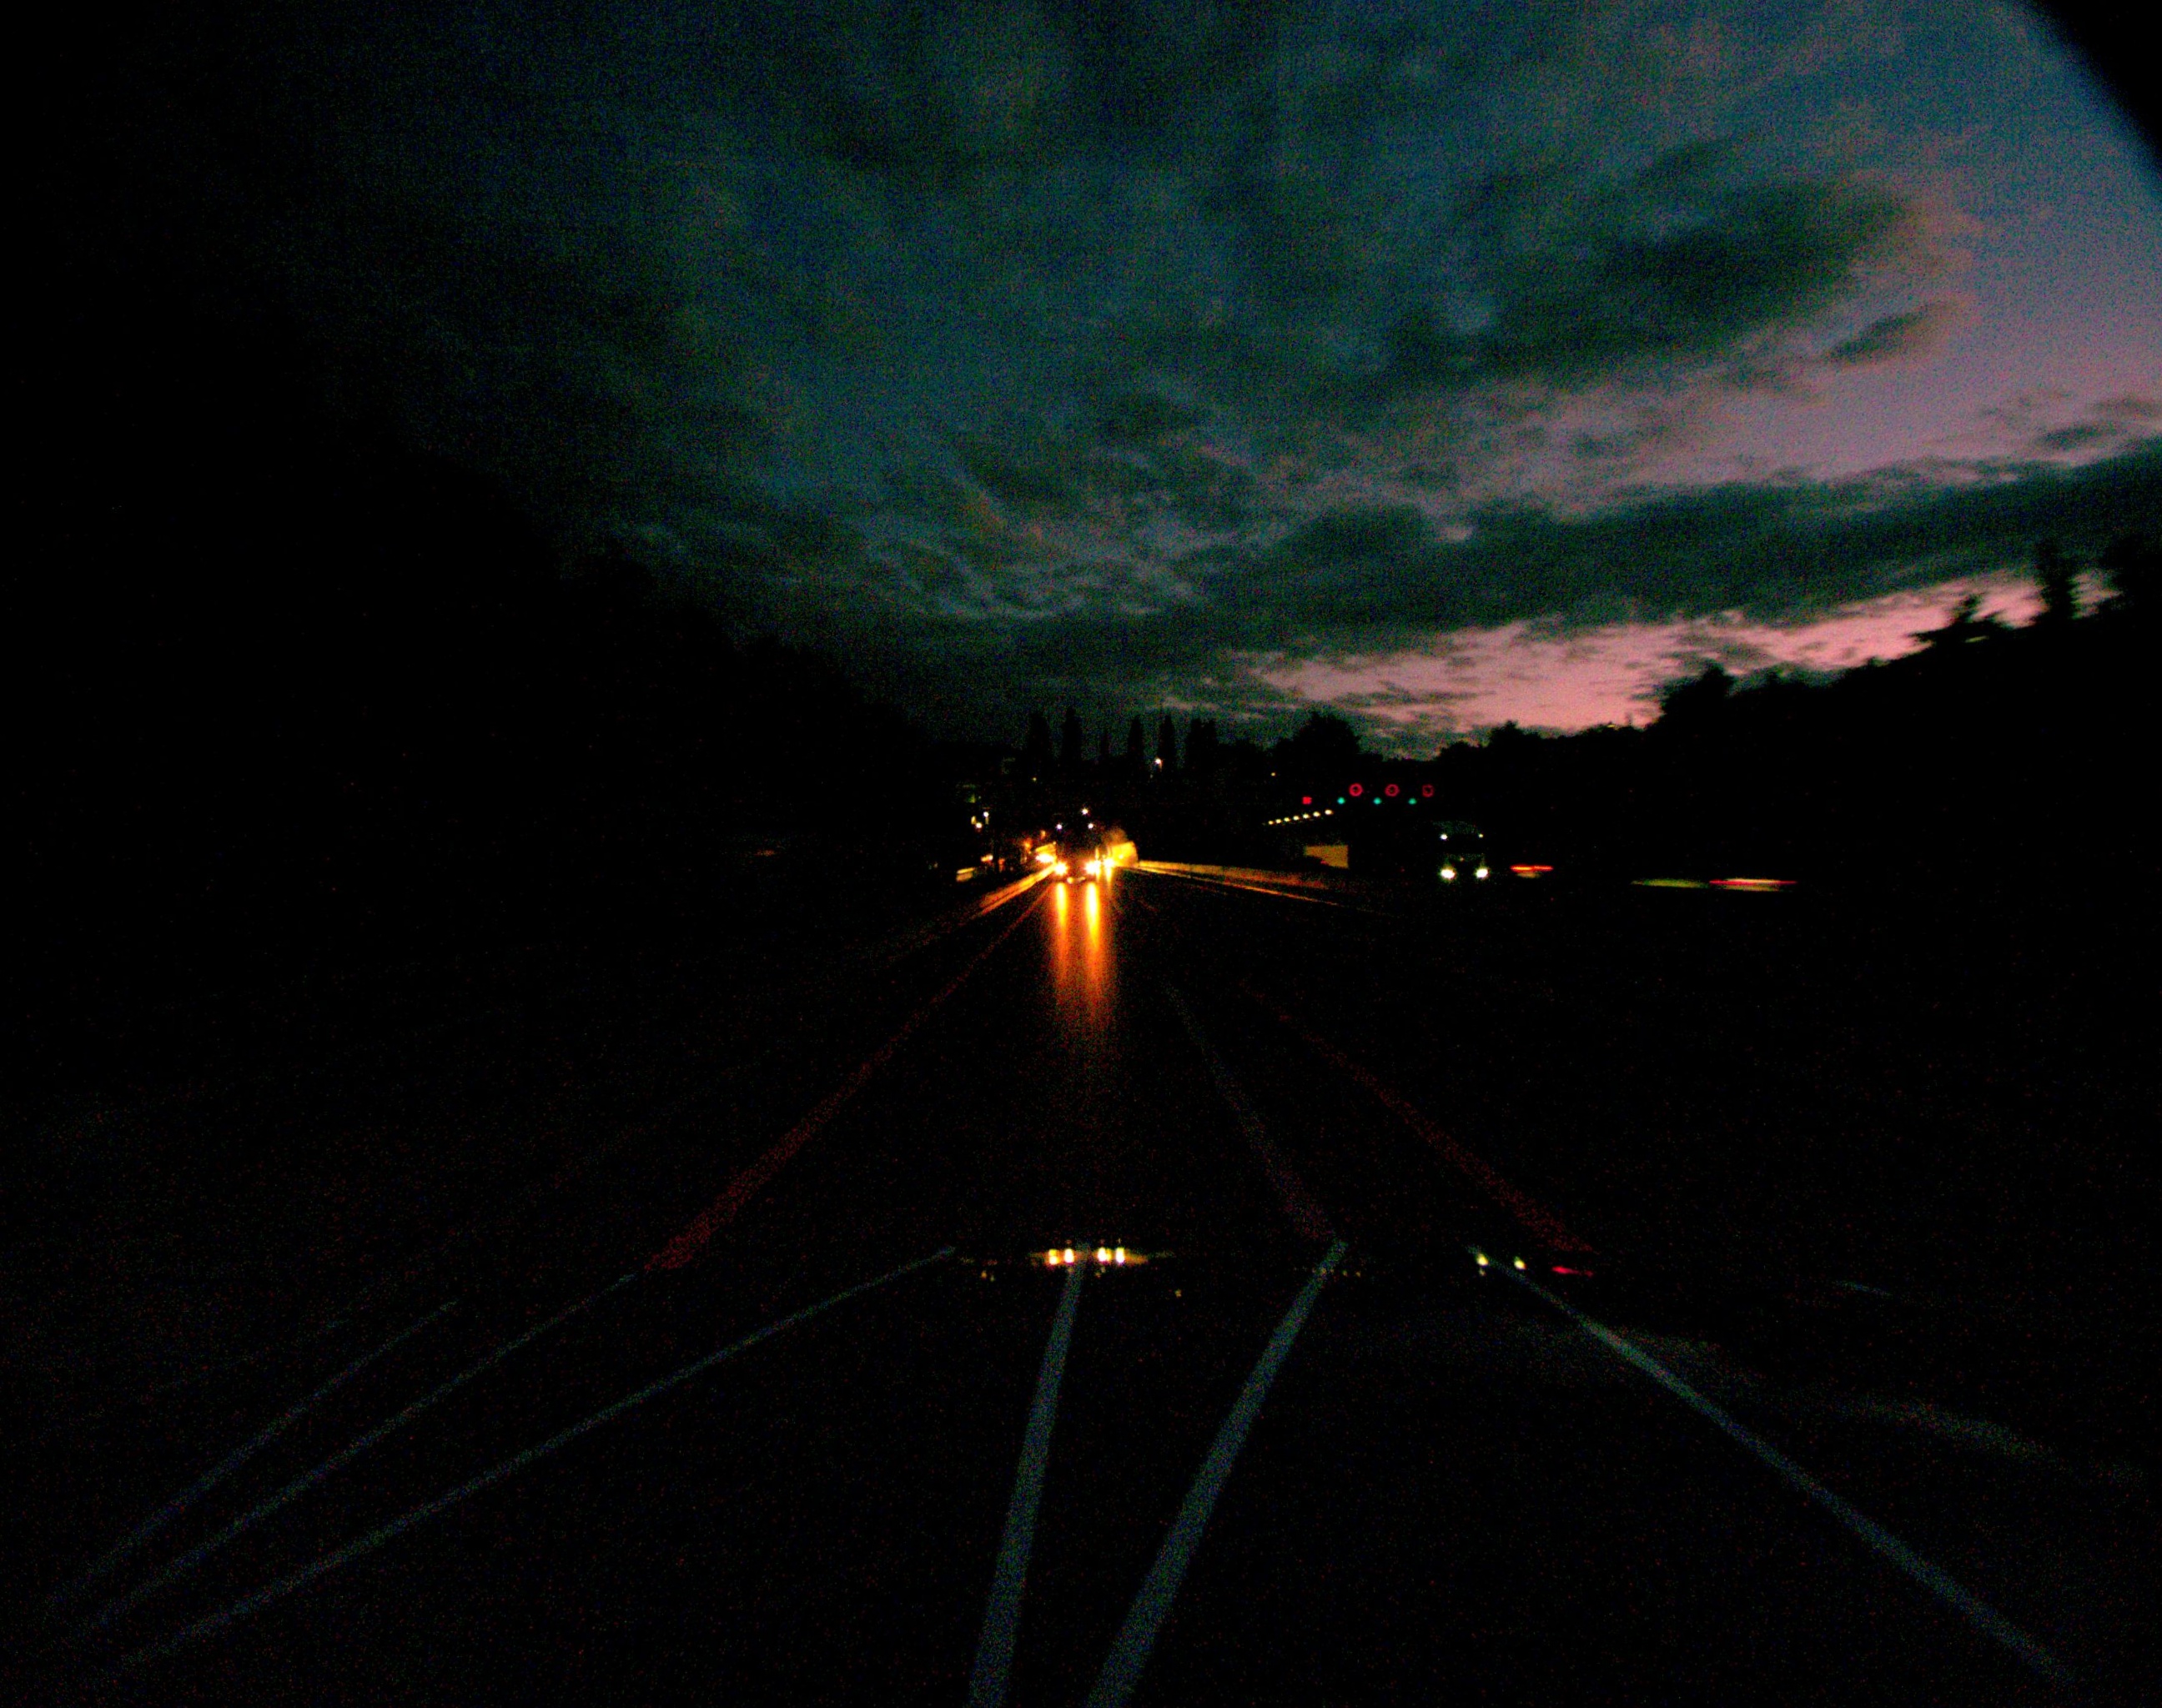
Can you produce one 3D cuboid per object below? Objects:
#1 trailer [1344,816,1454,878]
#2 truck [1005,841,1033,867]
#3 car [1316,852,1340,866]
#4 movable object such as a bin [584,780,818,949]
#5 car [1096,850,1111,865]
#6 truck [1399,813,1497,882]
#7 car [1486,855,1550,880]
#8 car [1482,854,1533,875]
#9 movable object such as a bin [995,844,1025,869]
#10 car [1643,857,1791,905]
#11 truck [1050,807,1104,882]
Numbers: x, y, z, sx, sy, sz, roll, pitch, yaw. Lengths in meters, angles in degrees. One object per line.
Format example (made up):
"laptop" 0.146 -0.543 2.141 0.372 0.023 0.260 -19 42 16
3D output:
"trailer" 21.922 -0.503 53.328 2.806 3.761 11.834 -3 1 1
"truck" -8.219 -0.039 101.807 2.825 3.267 8.352 -3 1 1
"car" 30.522 0.567 93.975 1.802 1.561 3.791 -3 1 0
"movable object such as a bin" -8.383 0.179 17.622 2.570 3.299 5.578 0 1 0
"car" 2.621 0.392 91.118 1.663 1.586 3.996 -3 1 1
"truck" 21.782 -0.409 45.510 2.809 3.753 6.302 -3 1 1
"car" 28.731 0.845 50.130 1.676 1.461 4.647 -3 1 3
"car" 32.029 0.742 57.174 1.580 1.461 4.226 0 1 3
"movable object such as a bin" -8.499 0.231 91.501 2.978 2.811 7.194 -3 1 -1
"car" 25.024 0.994 30.166 1.811 1.579 4.877 -3 1 1
"truck" -0.142 -0.629 50.087 2.953 4.241 11.052 -3 1 1
